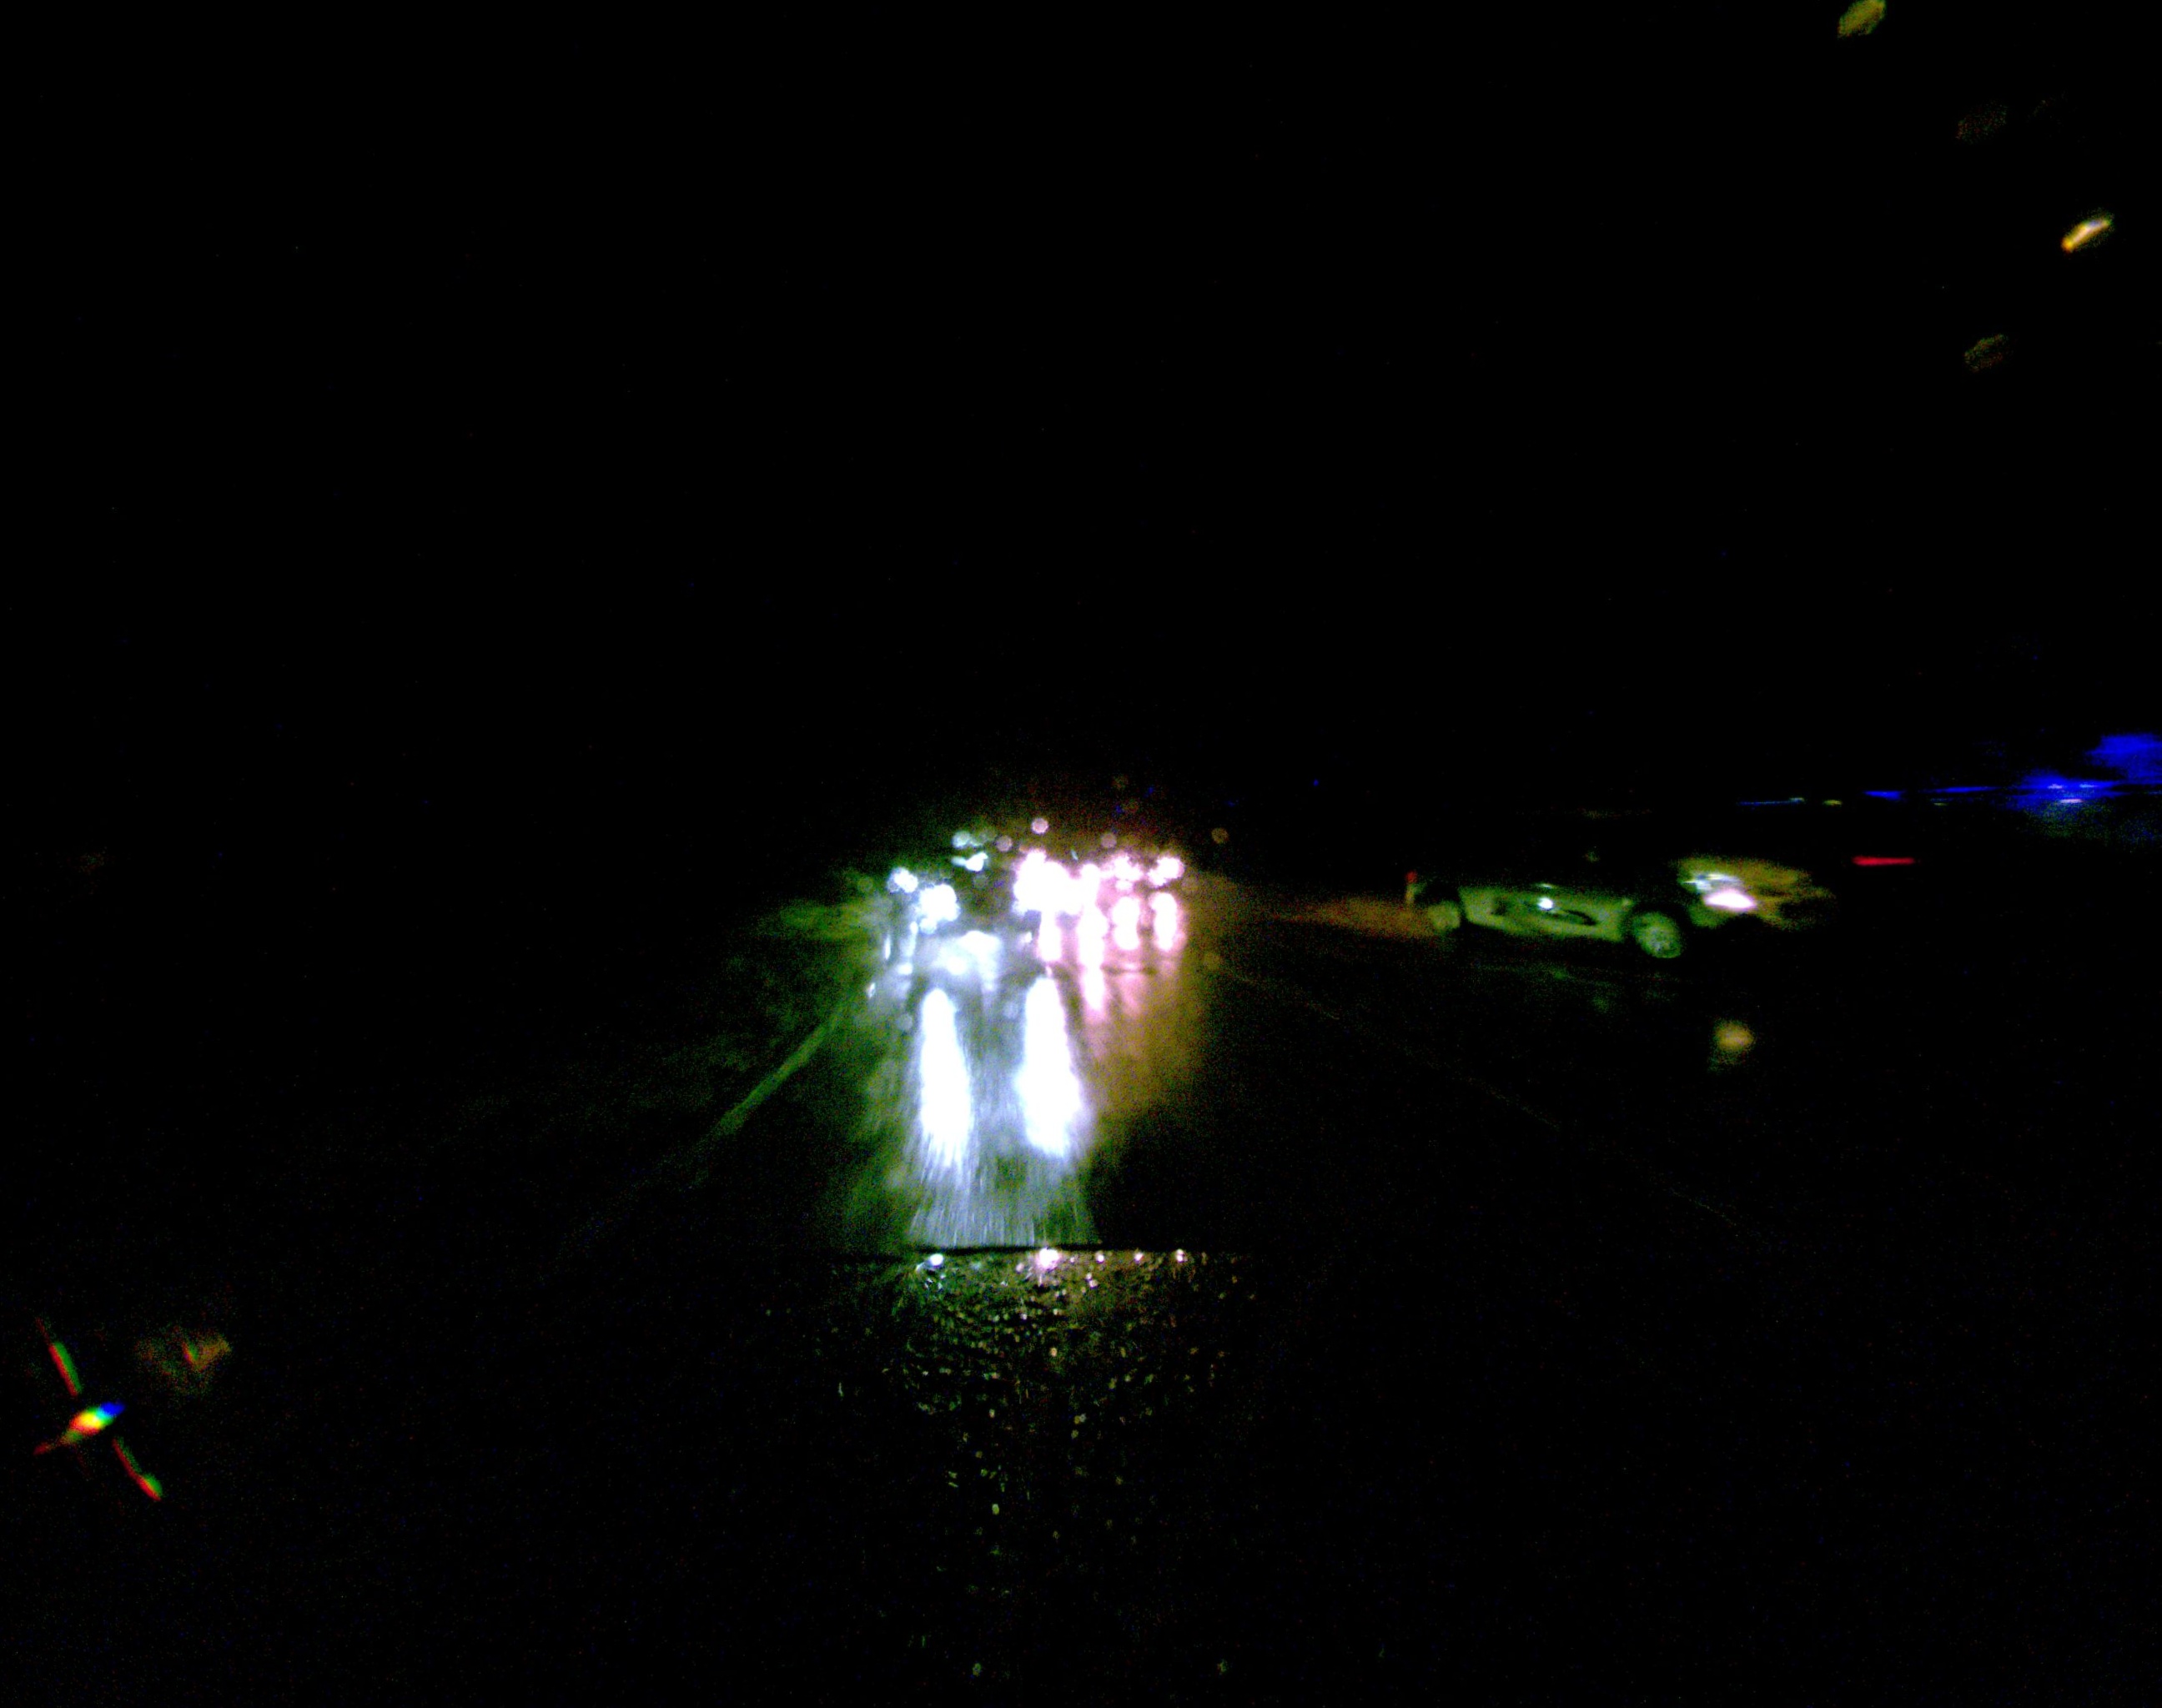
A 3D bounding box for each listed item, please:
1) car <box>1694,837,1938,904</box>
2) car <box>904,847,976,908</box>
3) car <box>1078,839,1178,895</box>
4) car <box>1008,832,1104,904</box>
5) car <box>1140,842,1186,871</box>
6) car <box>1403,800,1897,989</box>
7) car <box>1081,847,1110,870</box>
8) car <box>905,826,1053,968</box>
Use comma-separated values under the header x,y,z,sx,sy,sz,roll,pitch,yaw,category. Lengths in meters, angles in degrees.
x,y,z,sx,sy,sz,roll,pitch,yaw,category
18.246,0.368,19.102,1.730,1.406,4.020,-4,2,-24,car
-4.226,0.649,22.384,1.689,1.523,3.983,-4,0,-15,car
1.456,0.356,25.393,1.790,1.586,4.230,-4,2,-18,car
-0.854,0.319,22.230,1.784,1.820,4.551,-3,2,-15,car
5.476,0.160,51.221,2.036,1.782,4.782,-2,1,-7,car
6.668,0.403,9.709,2.002,1.782,4.713,0,0,-21,car
1.271,0.384,70.624,1.804,2.002,3.996,-4,1,-11,car
-1.830,0.543,12.930,2.005,1.915,4.364,-3,2,-11,car
